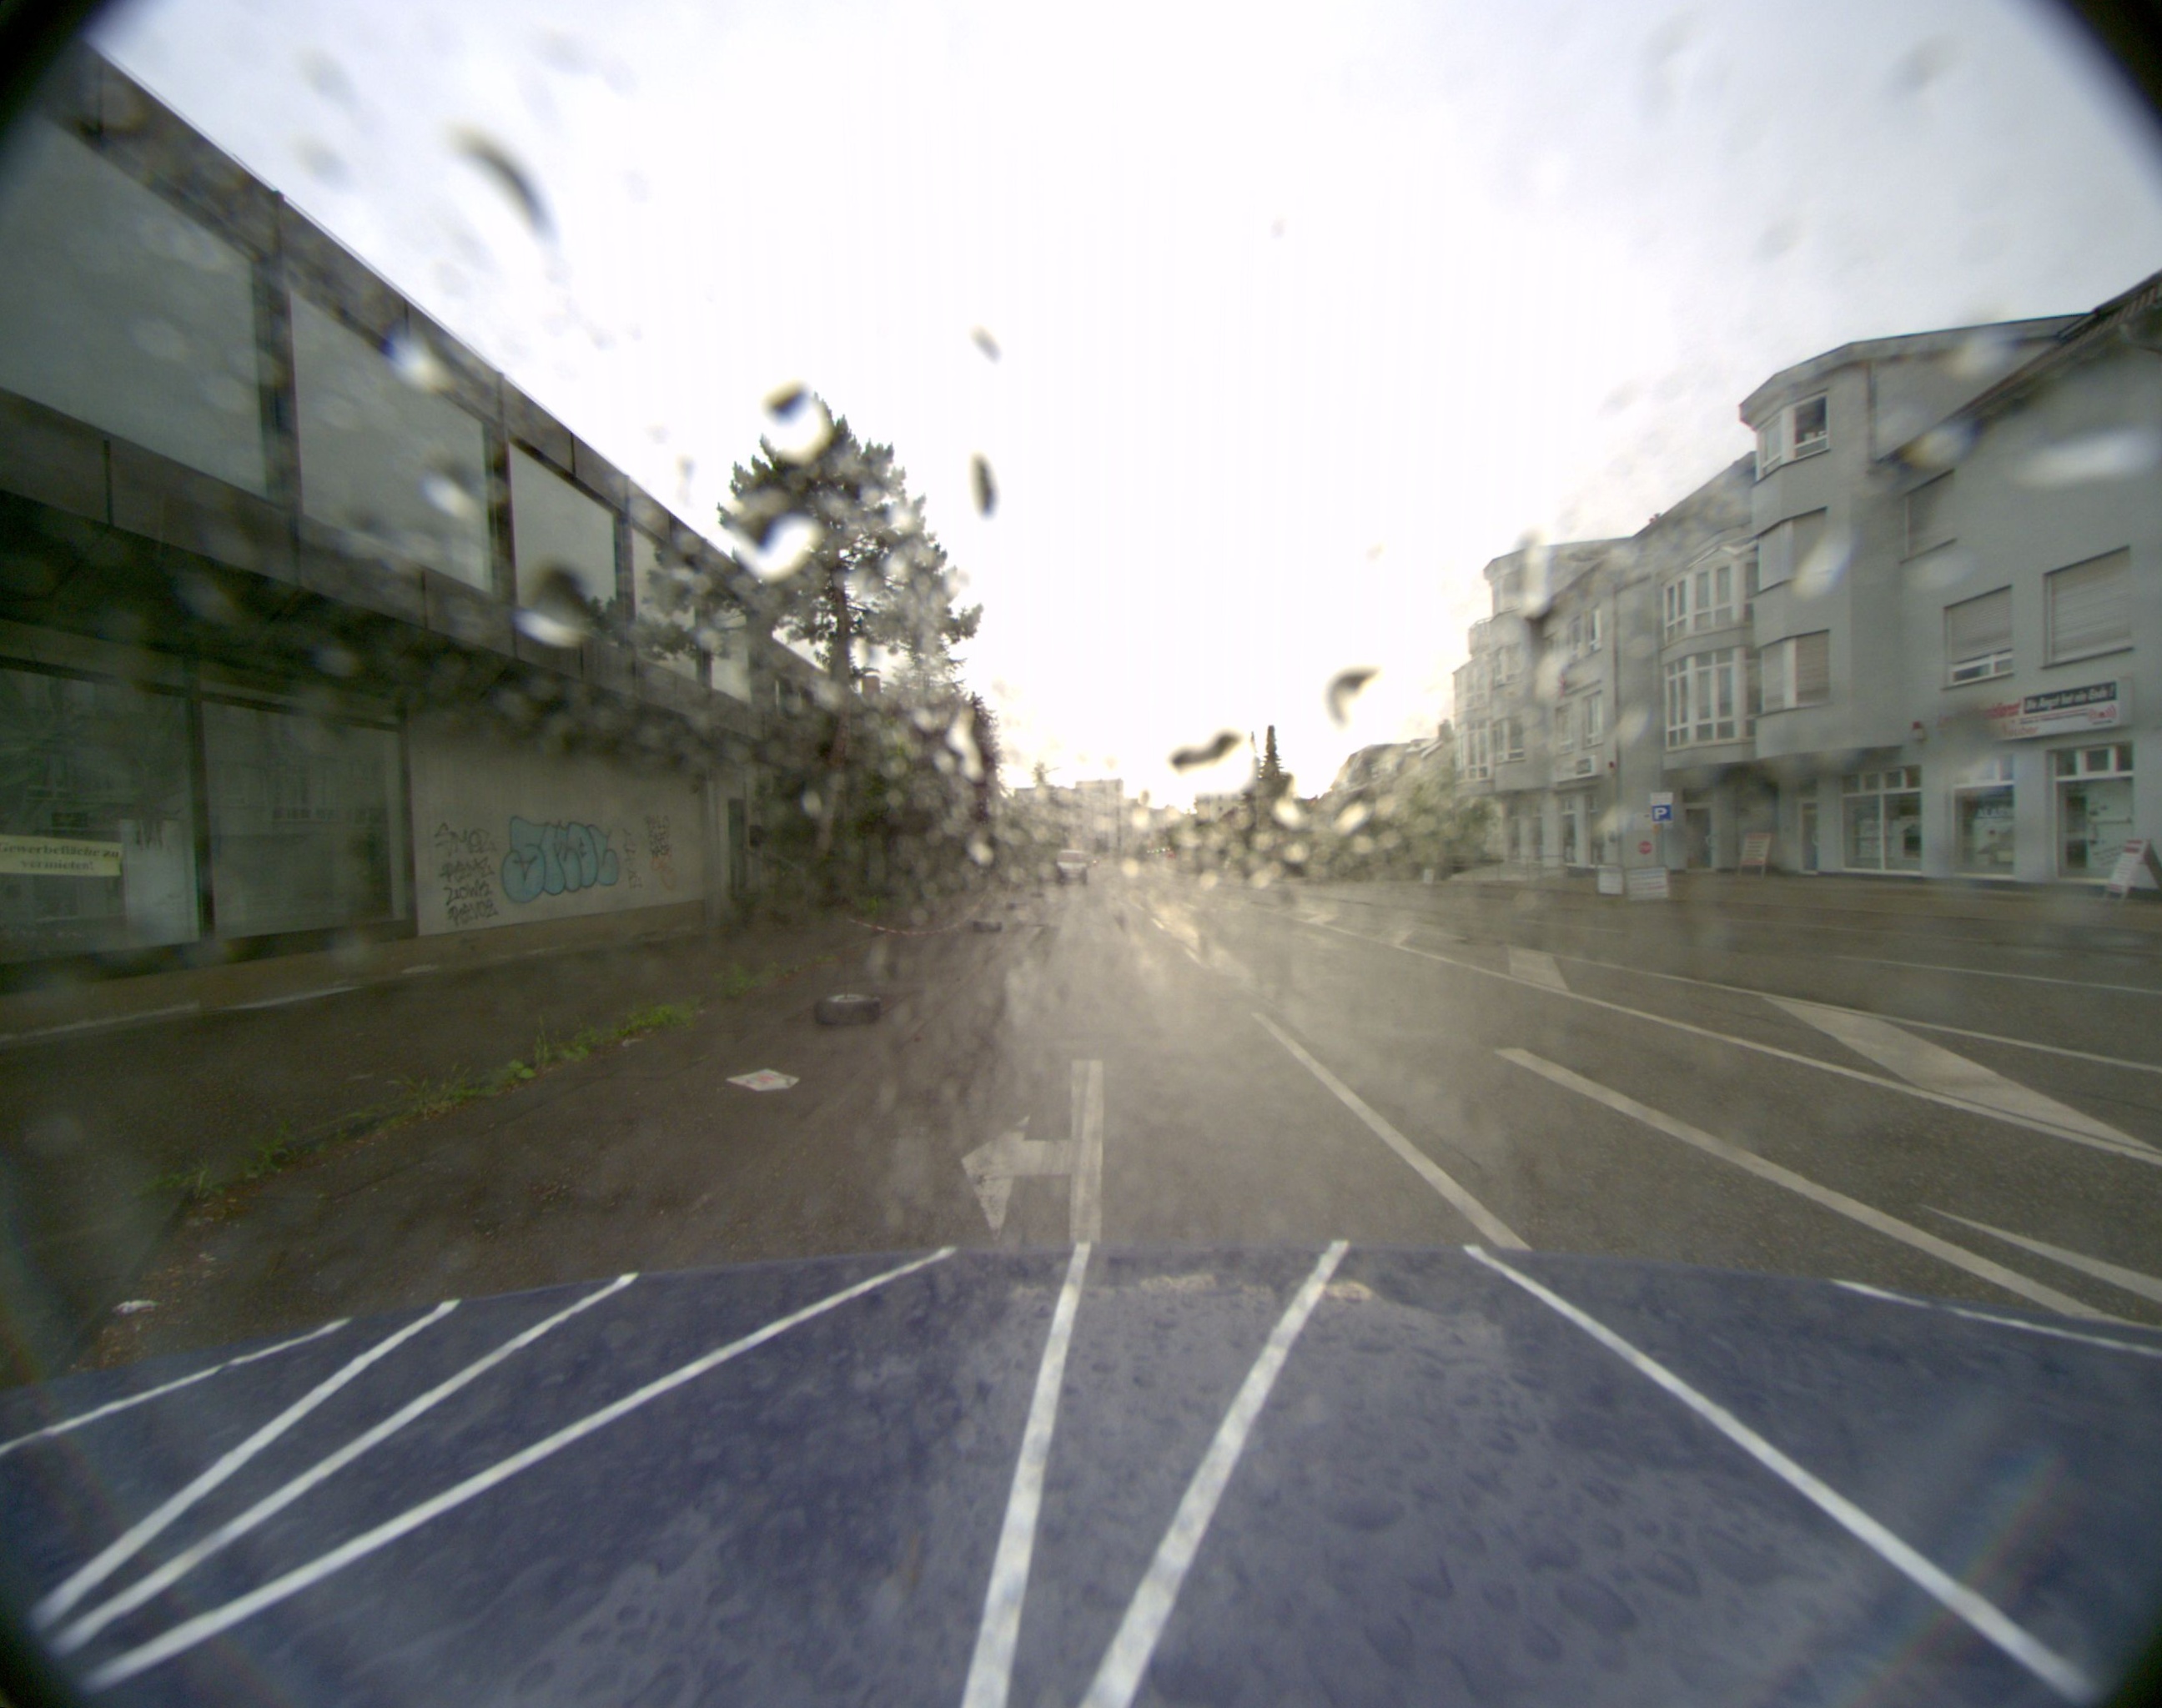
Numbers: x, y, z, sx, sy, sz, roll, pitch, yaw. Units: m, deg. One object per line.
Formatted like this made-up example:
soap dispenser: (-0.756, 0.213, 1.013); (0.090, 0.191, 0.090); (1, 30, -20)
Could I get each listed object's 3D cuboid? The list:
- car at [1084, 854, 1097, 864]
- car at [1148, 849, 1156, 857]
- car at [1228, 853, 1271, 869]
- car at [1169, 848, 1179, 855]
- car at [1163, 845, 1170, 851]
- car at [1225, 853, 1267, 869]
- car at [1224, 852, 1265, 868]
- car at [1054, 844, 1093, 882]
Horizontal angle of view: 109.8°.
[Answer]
car: (1.710, 0.926, 133.229); (1.912, 1.622, 3.703); (-1, 0, 5)
car: (17.131, -0.195, 183.620); (1.851, 1.870, 4.122); (-1, 0, 5)
car: (17.015, 0.707, 77.062); (4.034, 1.433, 1.813); (-3, 0, 6)
car: (22.175, -0.635, 180.206); (1.997, 1.606, 4.003); (-1, 0, 11)
car: (24.092, -1.694, 213.897); (1.850, 1.753, 4.124); (-1, 0, 11)
car: (17.247, 0.723, 79.545); (4.155, 1.434, 1.891); (-3, 0, 8)
car: (17.655, 0.652, 82.257); (4.114, 1.536, 2.001); (-3, 0, 6)
car: (-0.451, 0.582, 51.010); (2.397, 2.417, 6.433); (-1, 0, 1)
